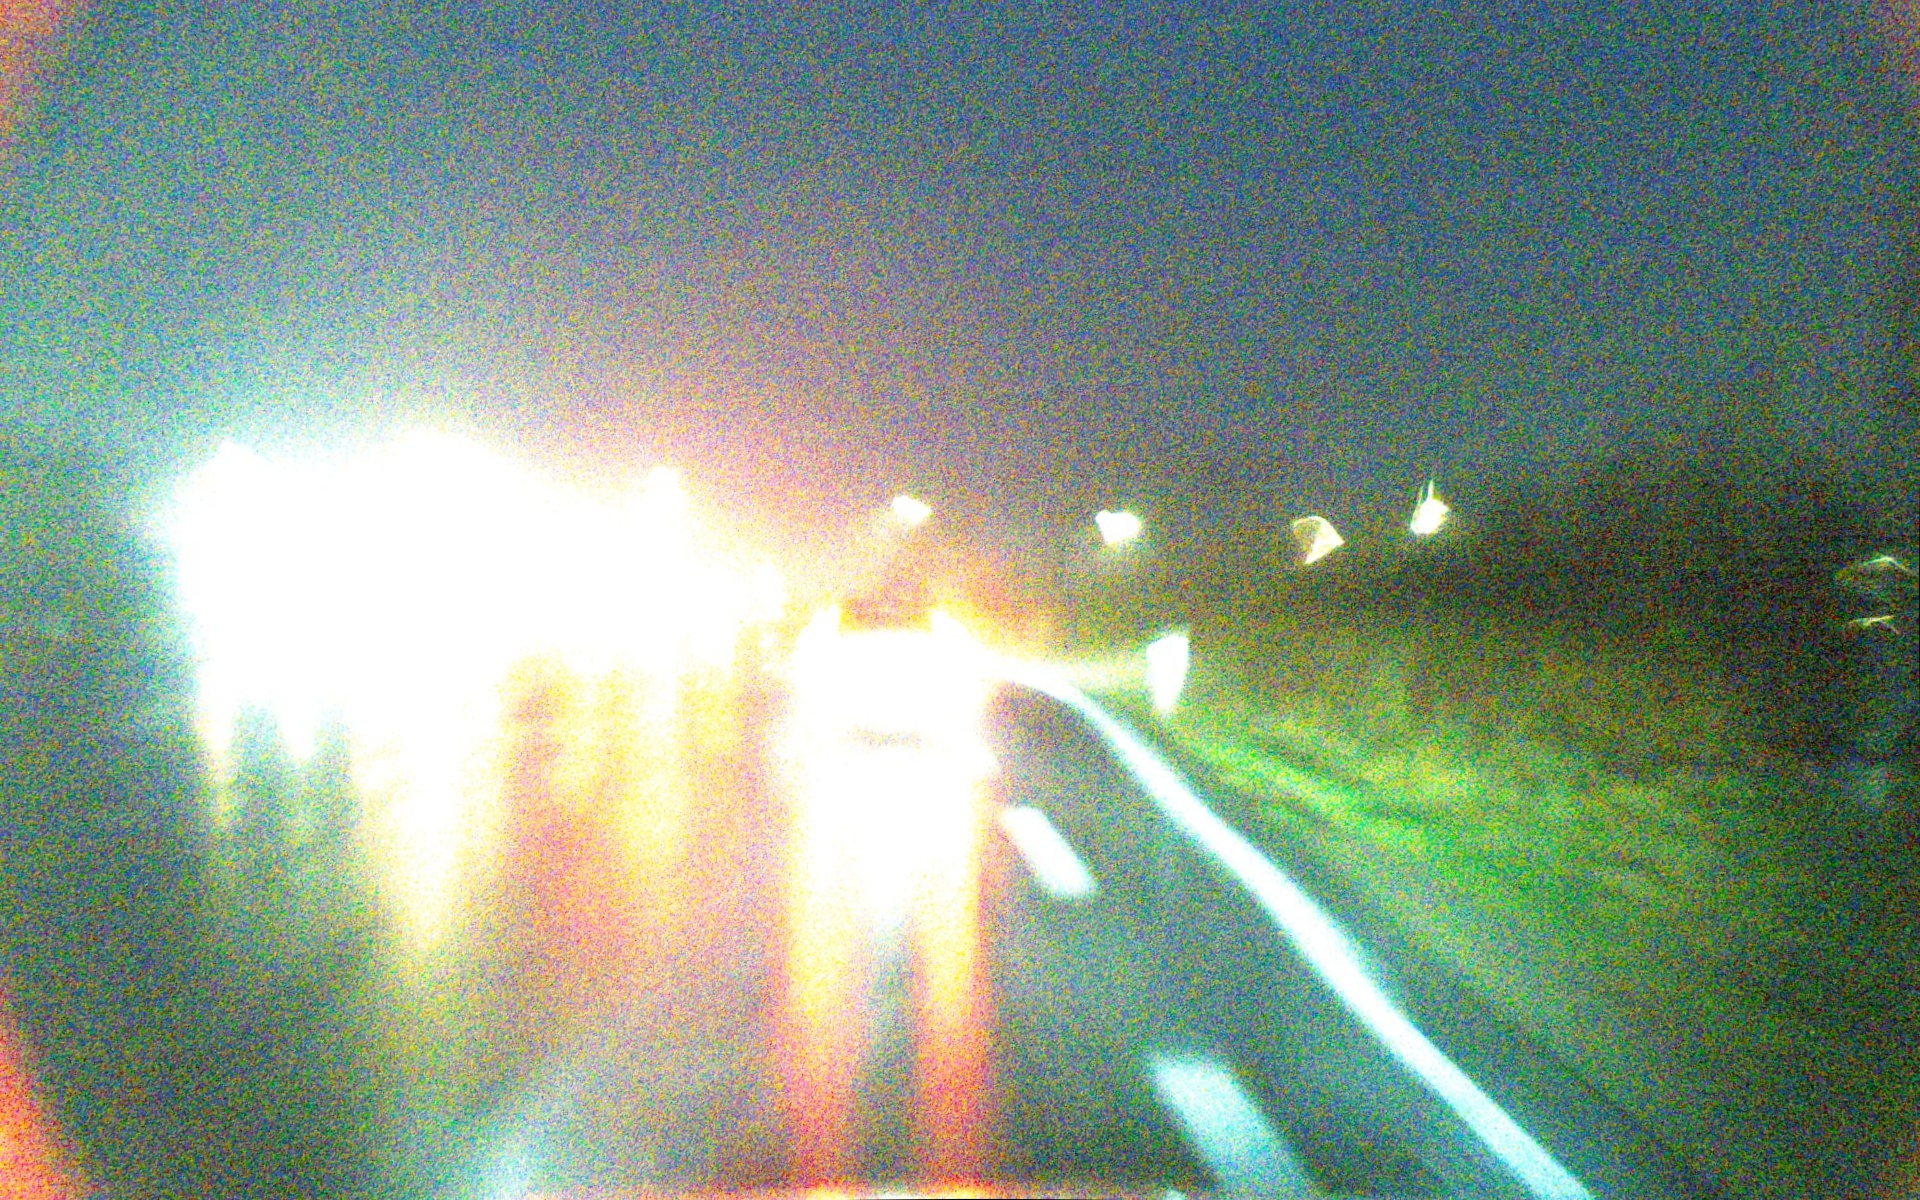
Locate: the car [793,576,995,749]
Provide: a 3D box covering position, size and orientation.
[{"bbox_3d":[-0.678,0.657,18.679,1.953,1.656,4.983,1,-1,-1],"label":"car"}]

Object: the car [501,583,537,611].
[{"bbox_3d":[-27.745,-0.199,103.924,1.962,1.656,4.961,-2,1,-17],"label":"car"}]

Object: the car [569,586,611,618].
[{"bbox_3d":[-21.065,0.085,94.087,1.962,1.656,4.961,-2,1,-17],"label":"car"}]

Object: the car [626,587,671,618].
[{"bbox_3d":[-17.809,0.109,94.303,1.962,1.656,4.961,-2,1,-17],"label":"car"}]
